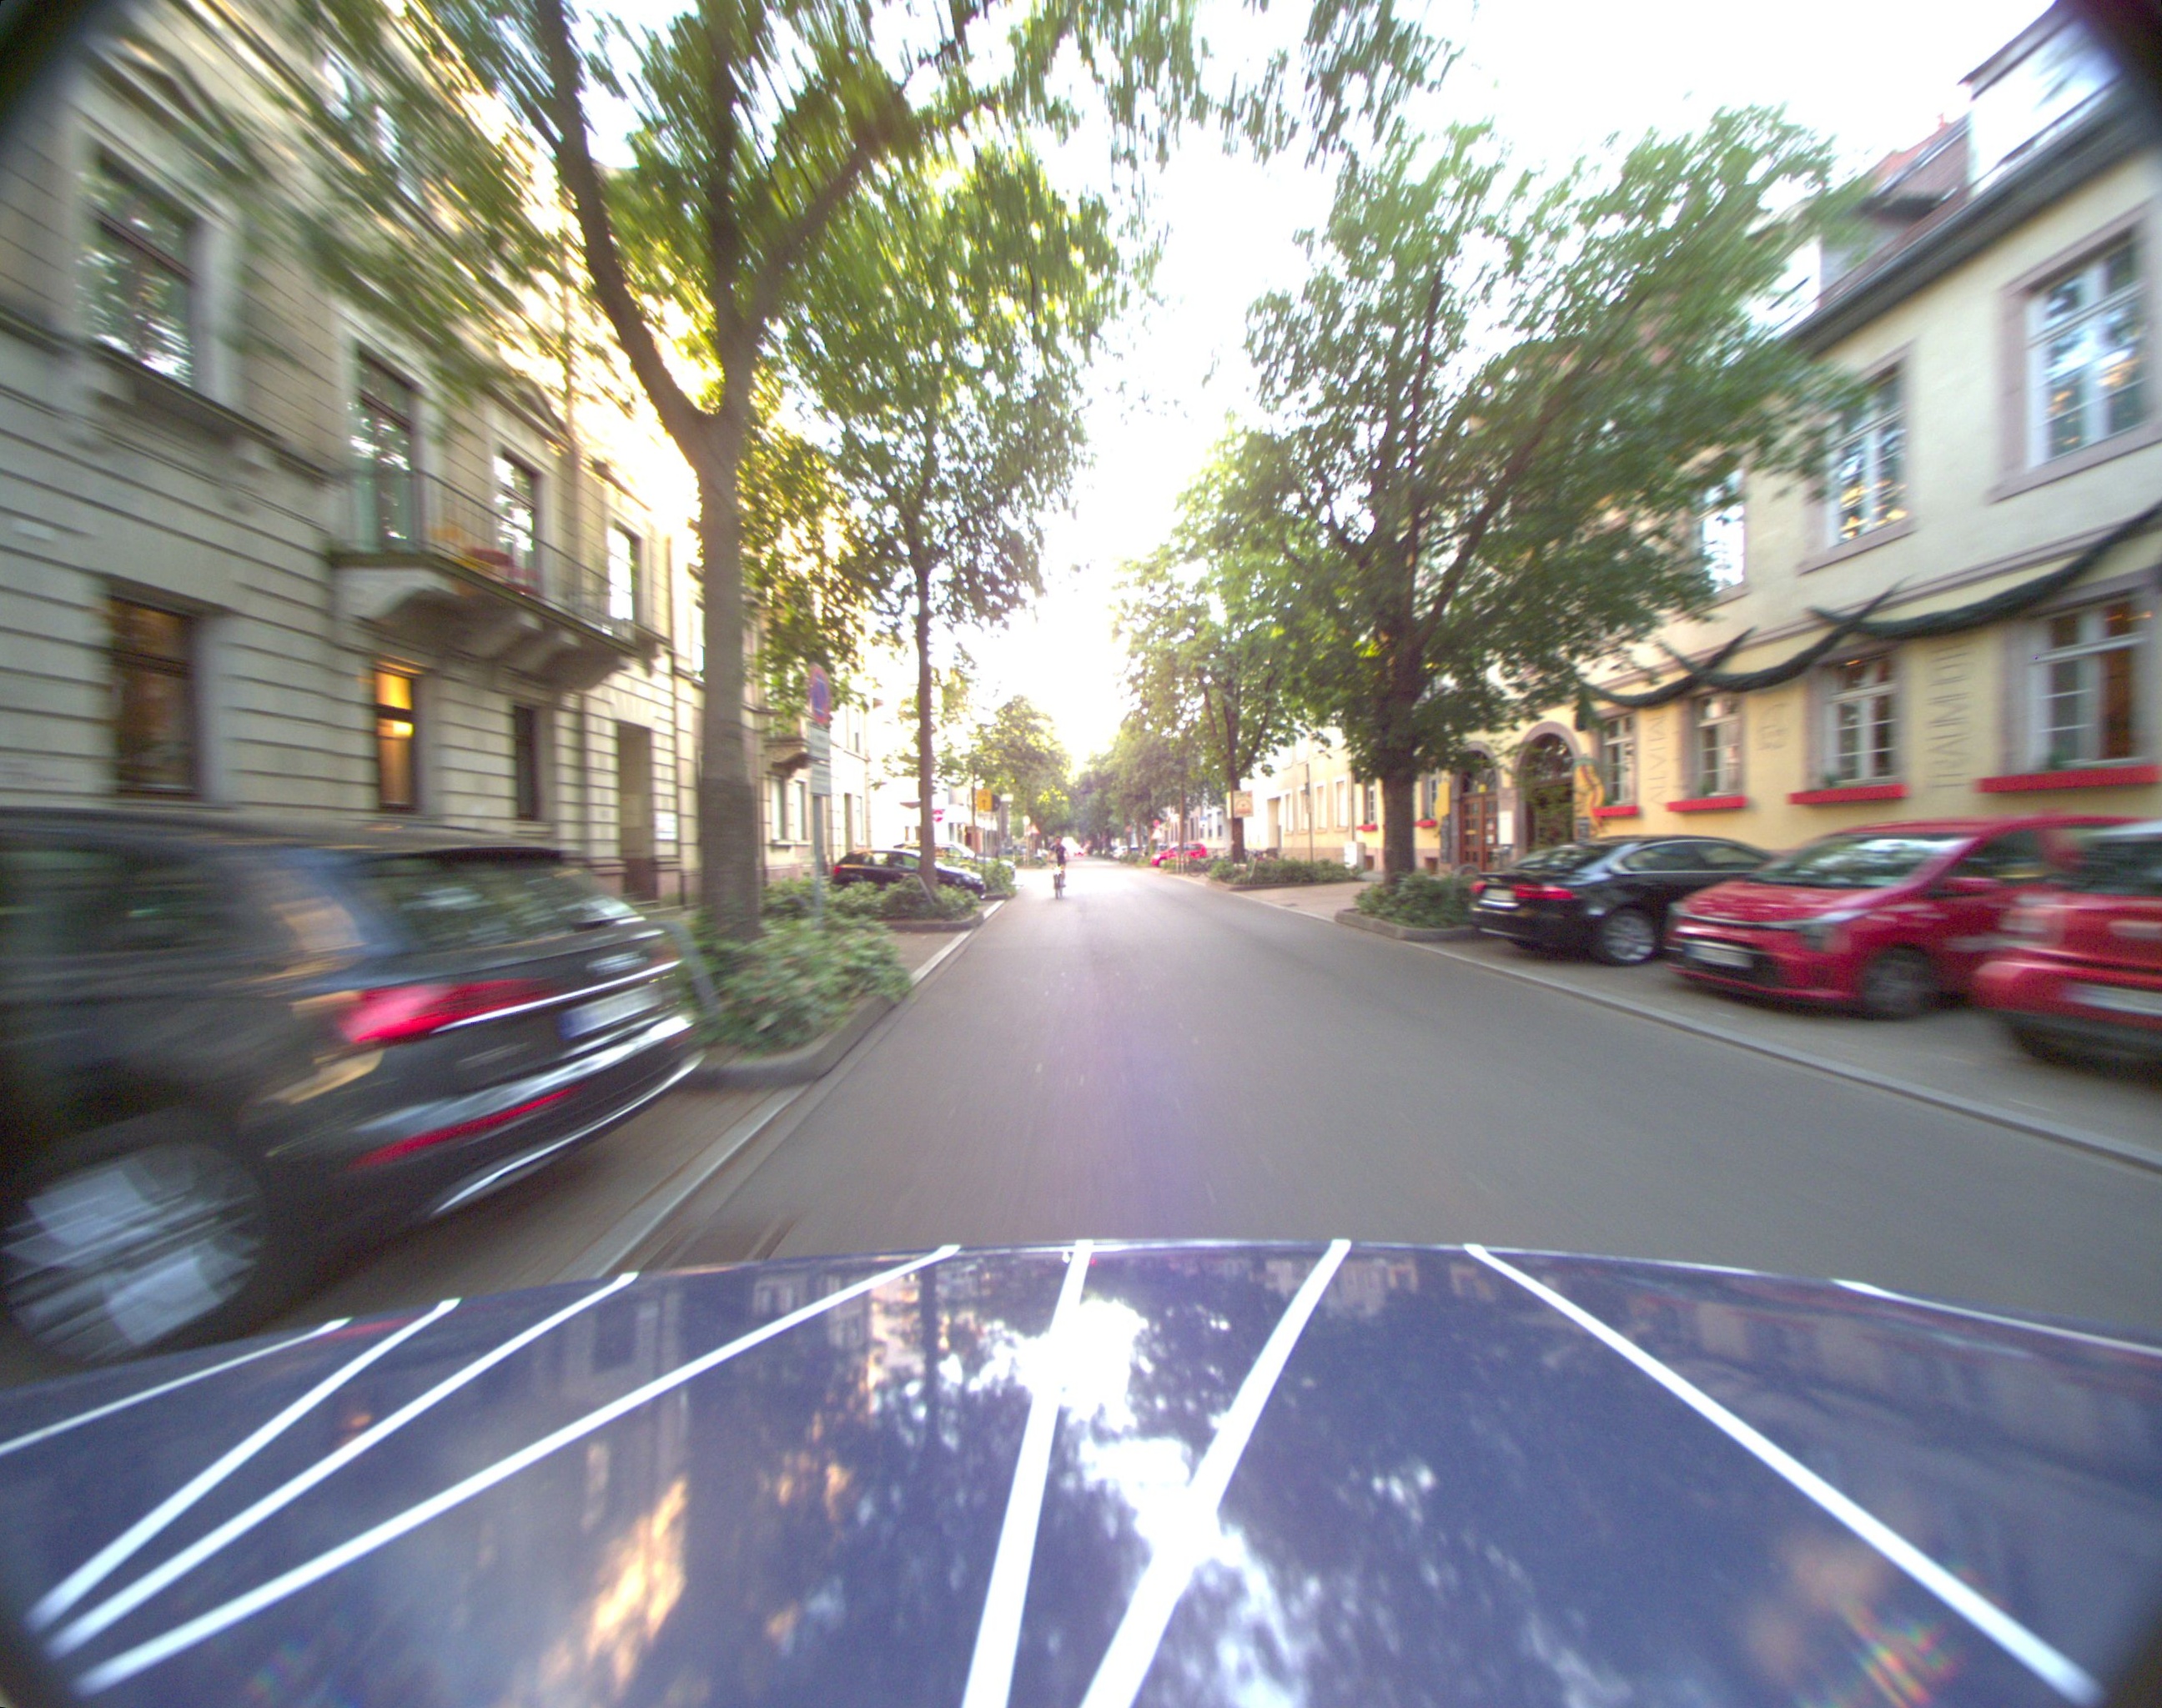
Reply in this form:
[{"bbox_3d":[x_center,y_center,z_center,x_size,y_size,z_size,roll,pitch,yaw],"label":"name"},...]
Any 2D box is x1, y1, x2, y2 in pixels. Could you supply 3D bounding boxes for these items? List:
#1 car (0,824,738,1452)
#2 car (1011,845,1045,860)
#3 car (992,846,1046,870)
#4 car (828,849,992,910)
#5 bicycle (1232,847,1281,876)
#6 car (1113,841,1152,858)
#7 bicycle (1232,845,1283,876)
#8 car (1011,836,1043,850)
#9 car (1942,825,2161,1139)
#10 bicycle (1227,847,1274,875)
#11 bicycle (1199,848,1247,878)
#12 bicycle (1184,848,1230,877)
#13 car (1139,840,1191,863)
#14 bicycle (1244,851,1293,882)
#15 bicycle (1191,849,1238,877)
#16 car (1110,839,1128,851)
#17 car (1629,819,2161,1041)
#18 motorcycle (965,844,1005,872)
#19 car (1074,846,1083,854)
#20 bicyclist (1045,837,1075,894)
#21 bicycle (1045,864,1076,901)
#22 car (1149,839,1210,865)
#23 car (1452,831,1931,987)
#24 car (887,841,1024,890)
[{"bbox_3d":[-4.041,0.749,2.994,4.451,1.708,1.967,0,2,-1],"label":"car"},{"bbox_3d":[-5.739,-0.159,82.853,3.552,1.411,1.590,-4,1,-1],"label":"car"},{"bbox_3d":[-5.055,0.281,62.278,4.167,1.666,1.590,-4,1,-1],"label":"car"},{"bbox_3d":[-4.339,0.634,19.737,3.876,1.419,1.781,2,0,-2],"label":"car"},{"bbox_3d":[7.137,0.299,30.922,1.869,1.093,0.509,-3,2,-7],"label":"bicycle"},{"bbox_3d":[5.049,-0.408,74.712,3.552,1.411,1.590,-4,1,-1],"label":"car"},{"bbox_3d":[7.019,0.248,30.215,1.869,1.093,0.480,-3,2,-7],"label":"bicycle"},{"bbox_3d":[-6.446,-1.274,91.072,3.552,1.411,1.590,-4,1,-1],"label":"car"},{"bbox_3d":[7.699,0.561,4.006,4.366,1.530,1.771,-4,2,-1],"label":"car"},{"bbox_3d":[7.321,0.313,32.868,1.869,1.093,0.480,-3,2,-7],"label":"bicycle"},{"bbox_3d":[5.864,0.358,31.433,1.869,1.138,0.480,-3,2,-7],"label":"bicycle"},{"bbox_3d":[5.401,0.357,32.610,1.869,1.092,0.480,-3,2,-7],"label":"bicycle"},{"bbox_3d":[6.185,-0.178,56.303,3.553,1.411,1.590,-4,1,-4],"label":"car"},{"bbox_3d":[7.099,0.469,28.779,1.712,1.093,0.480,-3,2,-7],"label":"bicycle"},{"bbox_3d":[5.633,0.373,32.062,1.869,1.093,0.480,-3,2,-7],"label":"bicycle"},{"bbox_3d":[4.753,-1.099,96.170,1.999,1.368,3.998,-3,2,-1],"label":"car"},{"bbox_3d":[7.147,0.545,6.501,3.694,1.441,1.659,-4,1,-1],"label":"car"},{"bbox_3d":[-5.806,0.235,45.991,2.248,1.537,0.772,-3,2,-16],"label":"motorcycle"},{"bbox_3d":[-0.501,-0.781,151.761,1.673,1.411,3.554,-4,1,-1],"label":"car"},{"bbox_3d":[-0.594,0.327,22.302,0.753,1.612,1.147,-2,1,2],"label":"bicyclist"},{"bbox_3d":[-0.586,0.820,22.304,0.778,0.967,2.024,-2,1,2],"label":"bicycle"},{"bbox_3d":[6.130,-0.136,47.578,3.498,1.397,1.672,-4,1,-4],"label":"car"},{"bbox_3d":[7.009,0.543,8.976,4.437,1.399,1.717,-3,2,-5],"label":"car"},{"bbox_3d":[-4.408,0.386,27.081,4.421,1.552,1.867,2,0,6],"label":"car"}]
